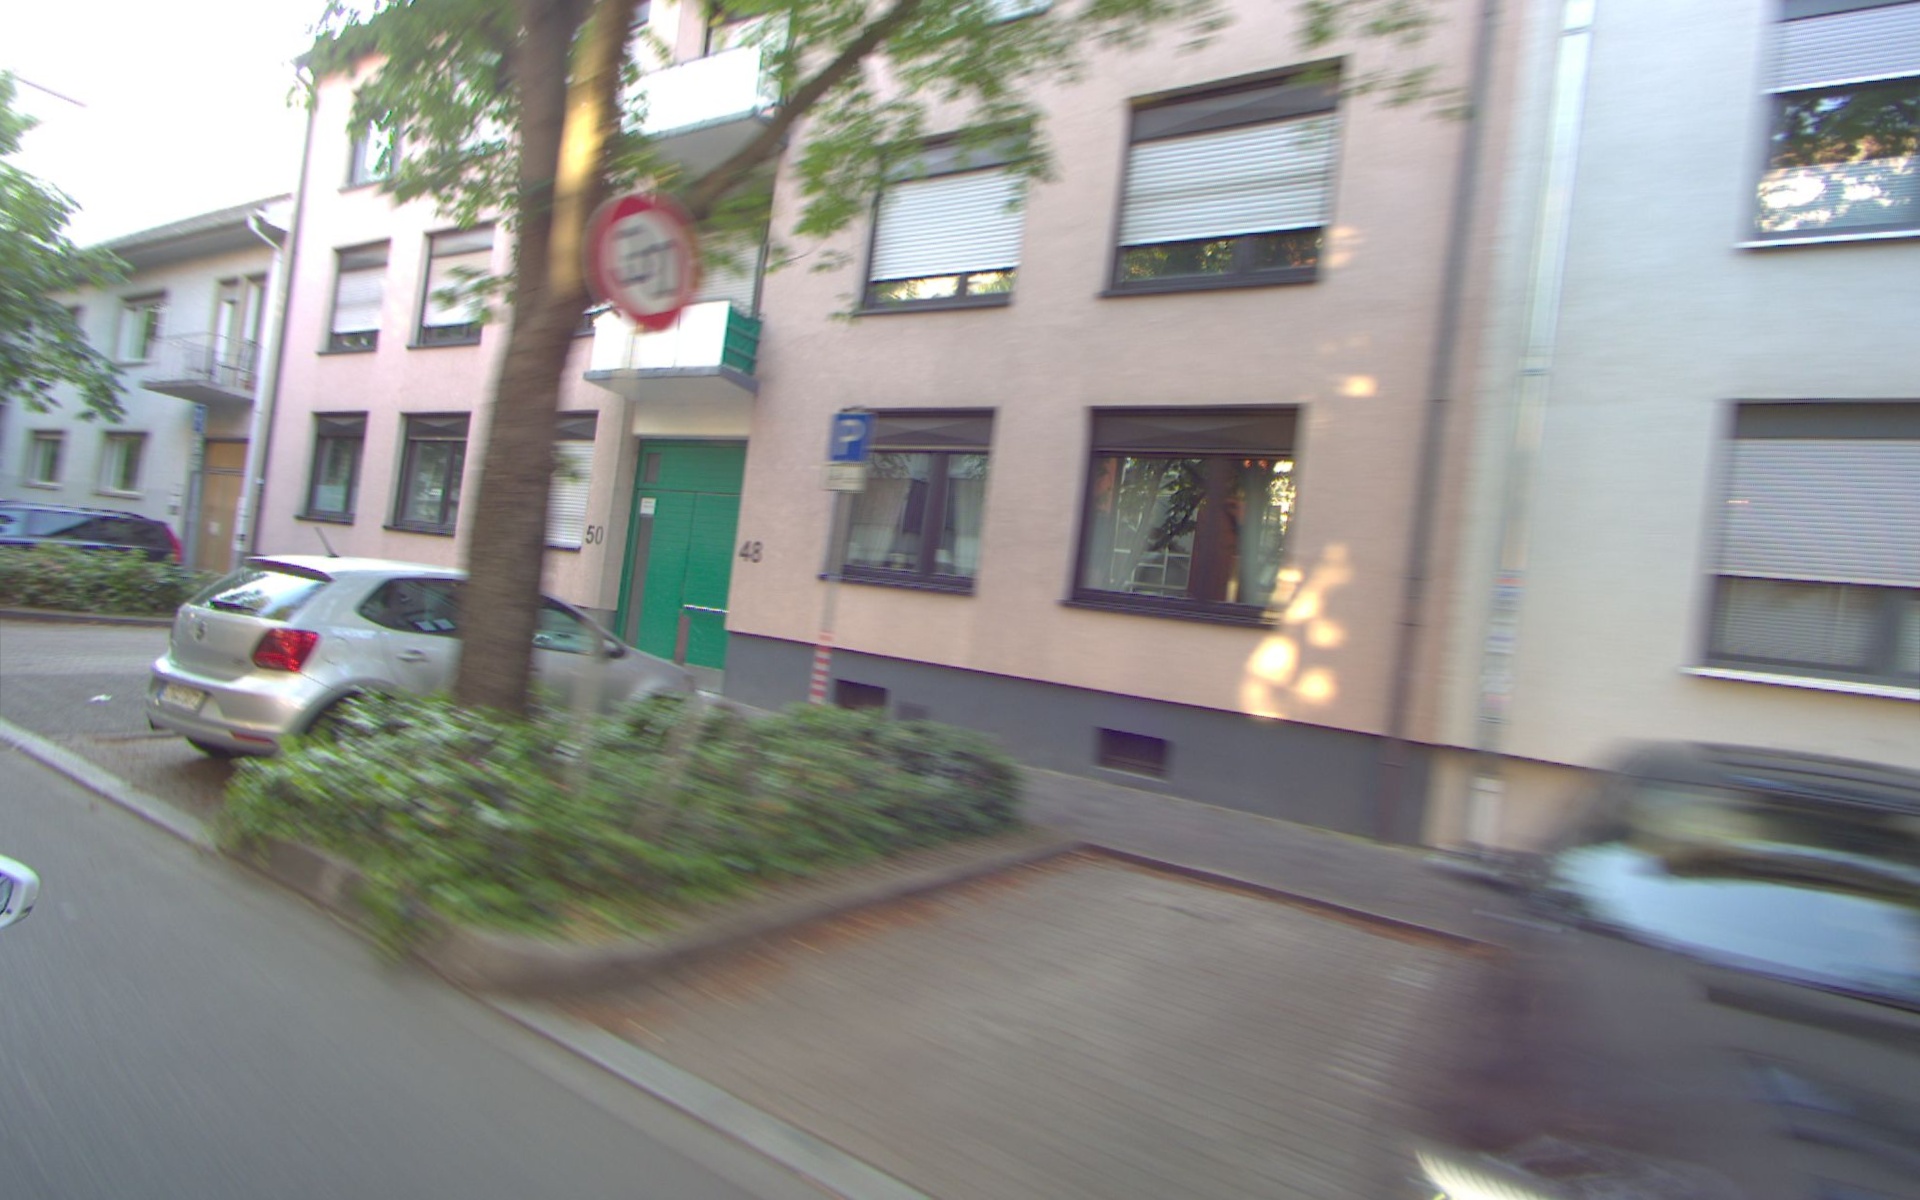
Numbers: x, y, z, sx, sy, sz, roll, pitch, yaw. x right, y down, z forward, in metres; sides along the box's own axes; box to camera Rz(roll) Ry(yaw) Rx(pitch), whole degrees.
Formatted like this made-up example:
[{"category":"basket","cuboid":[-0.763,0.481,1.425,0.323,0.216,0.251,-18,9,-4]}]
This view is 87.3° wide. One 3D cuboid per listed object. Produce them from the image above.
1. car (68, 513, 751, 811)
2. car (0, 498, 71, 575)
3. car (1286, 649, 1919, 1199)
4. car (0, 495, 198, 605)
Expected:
[{"category":"car","cuboid":[-3.708,0.491,7.602,1.768,1.507,4.091,7,-2,30]},{"category":"car","cuboid":[-20.068,-1.419,18.895,1.968,1.406,4.678,7,1,34]},{"category":"car","cuboid":[2.557,1.160,2.892,1.956,1.514,4.882,7,-2,33]},{"category":"car","cuboid":[-14.871,-0.893,15.257,2.010,1.466,4.840,6,0,35]}]
